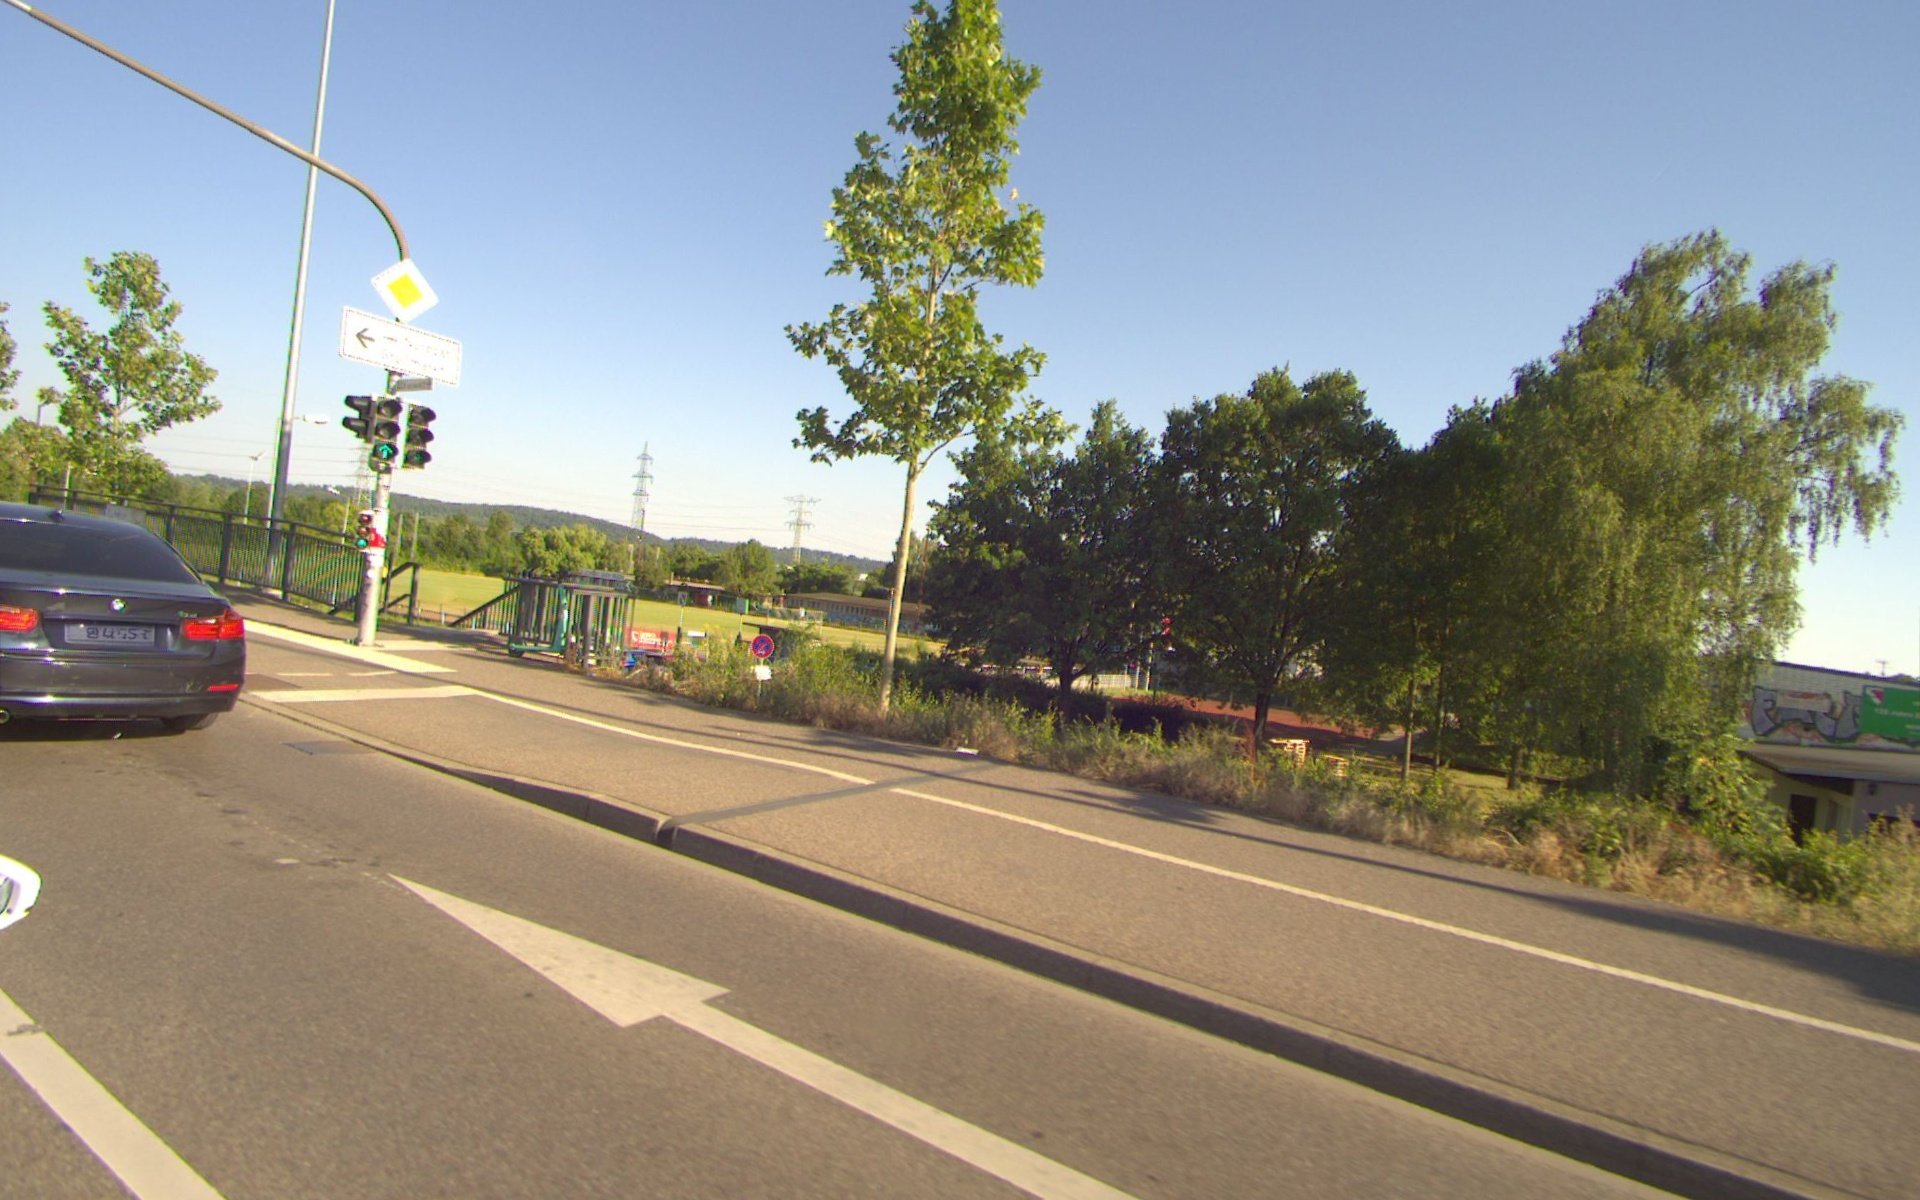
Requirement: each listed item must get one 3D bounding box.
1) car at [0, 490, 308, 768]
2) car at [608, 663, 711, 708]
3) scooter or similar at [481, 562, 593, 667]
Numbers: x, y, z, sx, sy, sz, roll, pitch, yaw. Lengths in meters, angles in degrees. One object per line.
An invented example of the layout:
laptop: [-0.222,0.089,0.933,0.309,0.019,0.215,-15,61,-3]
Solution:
car: [-6.813,-0.024,7.093,4.510,1.485,1.869,7,-1,32]
car: [-10.273,2.947,34.511,1.471,1.230,3.099,7,-2,30]
scooter or similar: [-5.654,0.192,13.456,1.243,1.246,0.525,7,1,19]
